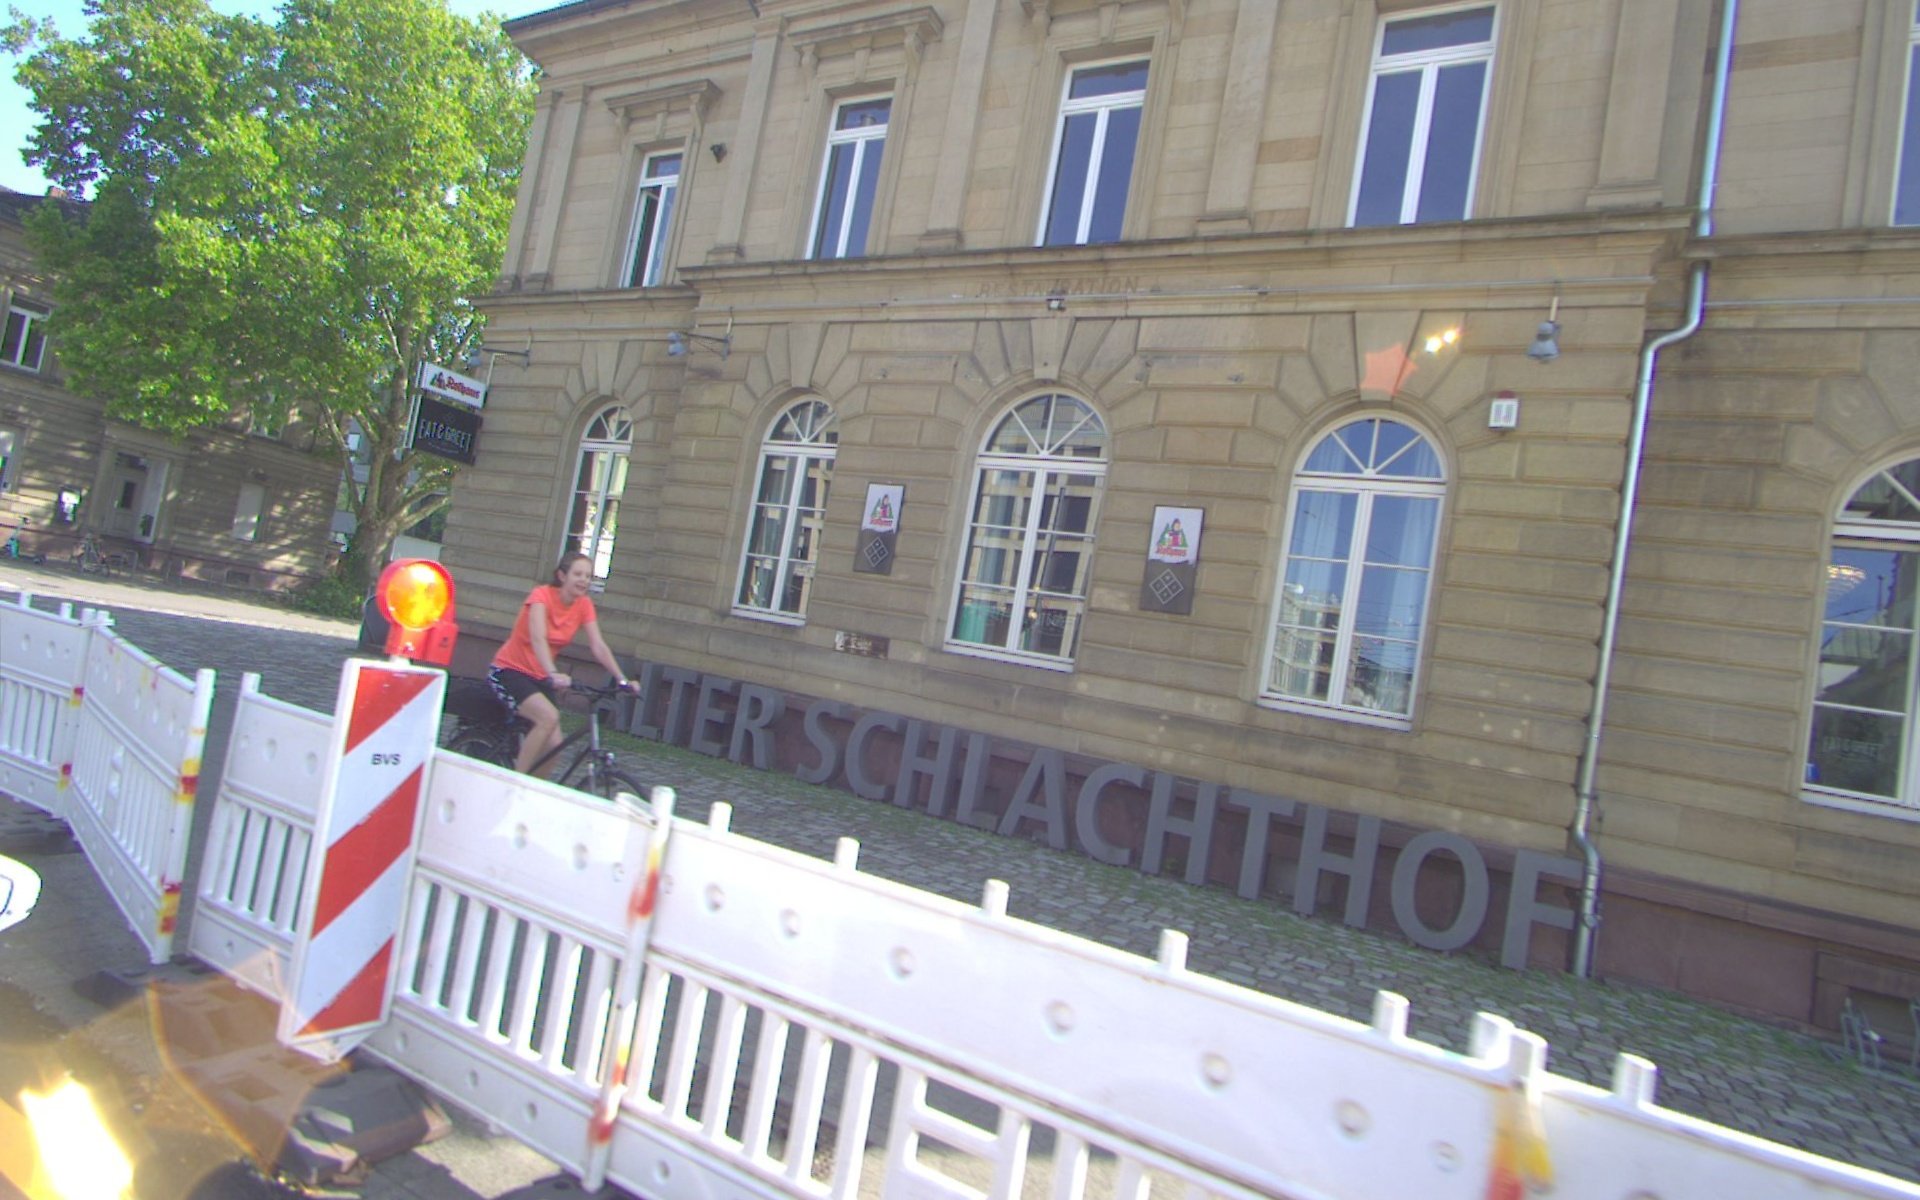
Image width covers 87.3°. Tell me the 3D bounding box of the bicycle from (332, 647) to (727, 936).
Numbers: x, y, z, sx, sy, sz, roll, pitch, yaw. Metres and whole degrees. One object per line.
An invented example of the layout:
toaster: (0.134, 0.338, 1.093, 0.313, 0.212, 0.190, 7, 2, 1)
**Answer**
bicycle: (-2.390, 0.962, 5.503, 2.096, 1.043, 0.744, 8, -3, 30)

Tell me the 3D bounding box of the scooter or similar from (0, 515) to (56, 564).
scooter or similar: (-26.142, -1.686, 28.128, 0.307, 1.144, 1.096, 8, -4, 26)

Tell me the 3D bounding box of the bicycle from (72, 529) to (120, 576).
bicycle: (-25.125, -1.390, 29.253, 1.603, 1.178, 0.499, 8, -3, 34)

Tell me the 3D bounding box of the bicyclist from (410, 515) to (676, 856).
bicyclist: (-2.259, 0.452, 5.496, 0.838, 1.642, 0.737, 8, -3, 30)
